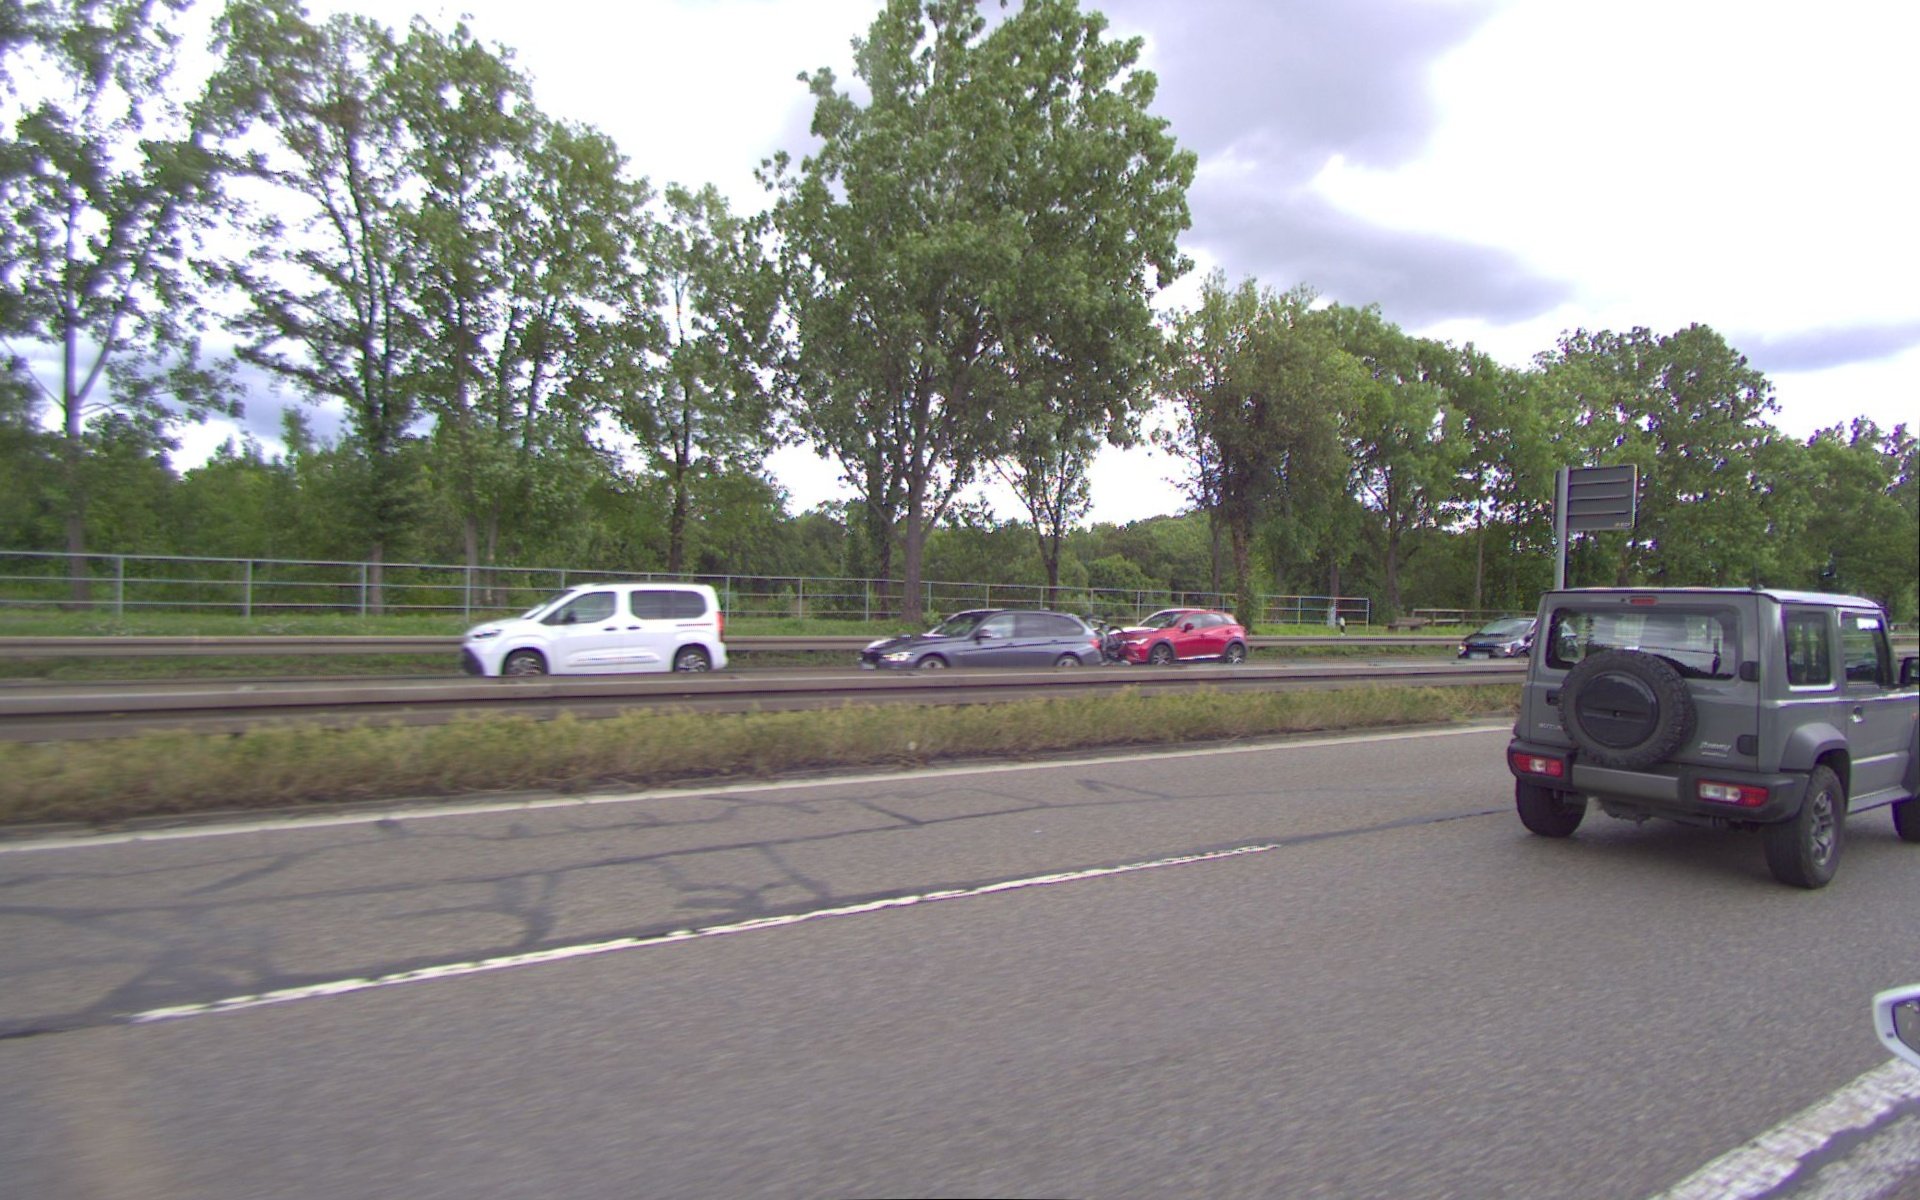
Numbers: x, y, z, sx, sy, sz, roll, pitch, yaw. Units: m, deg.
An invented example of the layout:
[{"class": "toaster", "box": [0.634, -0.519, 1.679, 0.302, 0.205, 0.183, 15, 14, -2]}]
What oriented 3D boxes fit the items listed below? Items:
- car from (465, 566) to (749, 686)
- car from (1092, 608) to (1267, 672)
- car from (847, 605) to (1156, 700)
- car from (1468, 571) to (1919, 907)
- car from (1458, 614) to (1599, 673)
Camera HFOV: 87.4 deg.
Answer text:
[{"class": "car", "box": [-6.185, 0.452, 17.798, 4.510, 1.909, 1.602, 1, 0, -31]}, {"class": "car", "box": [5.564, 0.985, 25.327, 4.331, 1.484, 1.709, 1, 0, -31]}, {"class": "car", "box": [0.854, 0.895, 18.189, 5.488, 1.484, 1.852, 1, 0, -31]}, {"class": "car", "box": [5.425, 0.739, 6.898, 3.956, 1.708, 1.688, 1, 0, -33]}, {"class": "car", "box": [15.402, 1.156, 27.184, 3.867, 1.443, 1.652, 1, 0, -31]}]
